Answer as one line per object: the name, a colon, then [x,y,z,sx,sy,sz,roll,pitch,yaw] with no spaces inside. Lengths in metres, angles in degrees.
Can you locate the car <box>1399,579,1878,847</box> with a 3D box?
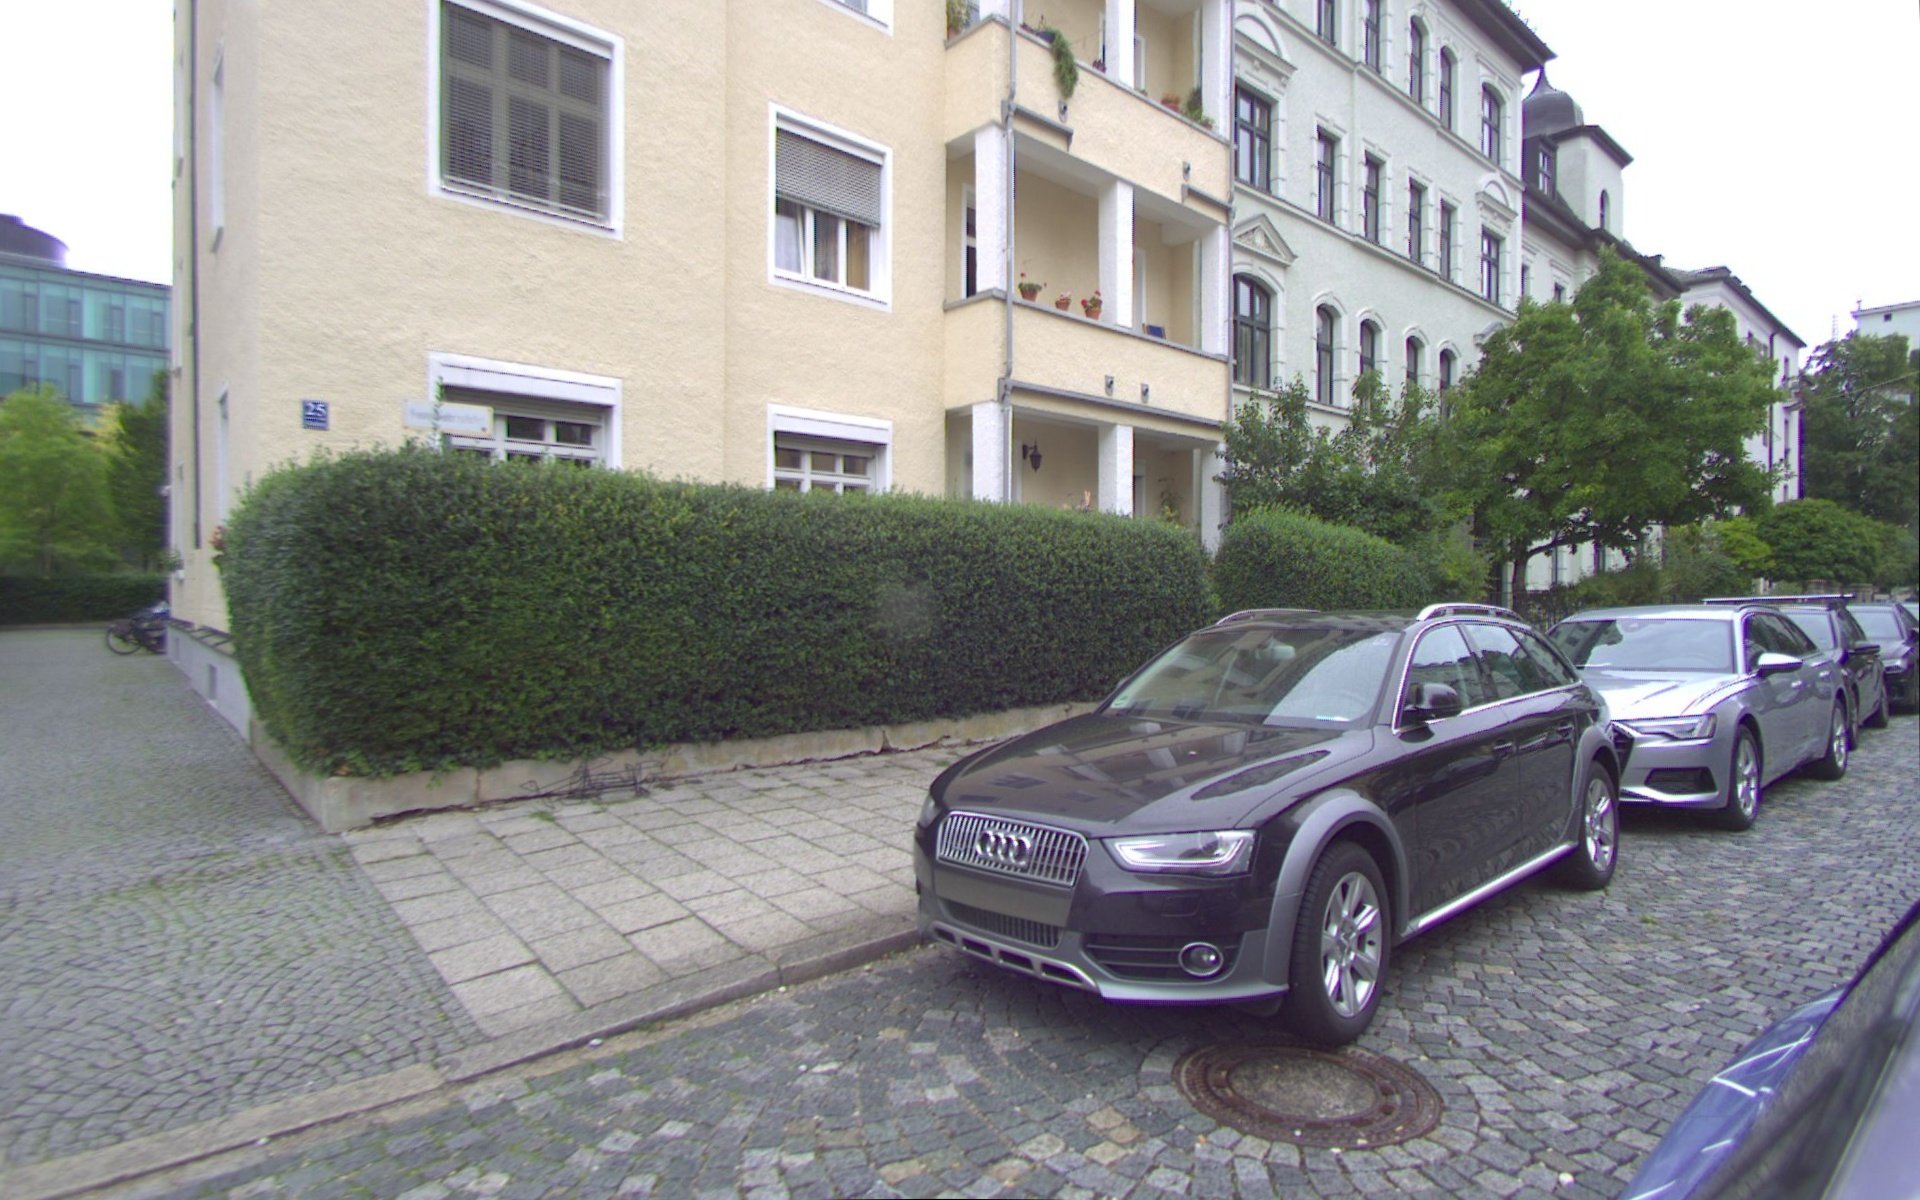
car: [5.765,0.677,8.311,4.898,1.572,1.997,0,-1,-40]

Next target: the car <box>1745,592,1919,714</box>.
car: [13.295,0.681,14.841,4.961,1.508,1.821,0,-2,-41]

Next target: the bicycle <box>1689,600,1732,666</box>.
bicycle: [14.386,0.604,19.428,0.578,1.210,1.628,-1,0,34]

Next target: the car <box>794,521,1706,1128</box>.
car: [1.823,0.603,5.032,4.927,1.572,1.996,0,-2,-41]

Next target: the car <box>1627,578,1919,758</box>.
car: [9.381,0.640,11.553,4.220,1.675,1.896,0,-1,-42]

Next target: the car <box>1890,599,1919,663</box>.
car: [25.030,0.710,25.373,5.016,1.522,1.907,0,-2,-41]

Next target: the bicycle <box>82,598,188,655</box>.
bicycle: [-18.725,0.574,23.022,1.815,1.244,0.794,0,0,-36]

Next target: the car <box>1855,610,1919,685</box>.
car: [20.822,0.962,21.740,4.402,1.478,1.758,0,-2,-41]

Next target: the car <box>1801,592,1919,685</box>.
car: [17.004,0.629,18.364,4.729,1.508,1.885,0,-2,-41]
